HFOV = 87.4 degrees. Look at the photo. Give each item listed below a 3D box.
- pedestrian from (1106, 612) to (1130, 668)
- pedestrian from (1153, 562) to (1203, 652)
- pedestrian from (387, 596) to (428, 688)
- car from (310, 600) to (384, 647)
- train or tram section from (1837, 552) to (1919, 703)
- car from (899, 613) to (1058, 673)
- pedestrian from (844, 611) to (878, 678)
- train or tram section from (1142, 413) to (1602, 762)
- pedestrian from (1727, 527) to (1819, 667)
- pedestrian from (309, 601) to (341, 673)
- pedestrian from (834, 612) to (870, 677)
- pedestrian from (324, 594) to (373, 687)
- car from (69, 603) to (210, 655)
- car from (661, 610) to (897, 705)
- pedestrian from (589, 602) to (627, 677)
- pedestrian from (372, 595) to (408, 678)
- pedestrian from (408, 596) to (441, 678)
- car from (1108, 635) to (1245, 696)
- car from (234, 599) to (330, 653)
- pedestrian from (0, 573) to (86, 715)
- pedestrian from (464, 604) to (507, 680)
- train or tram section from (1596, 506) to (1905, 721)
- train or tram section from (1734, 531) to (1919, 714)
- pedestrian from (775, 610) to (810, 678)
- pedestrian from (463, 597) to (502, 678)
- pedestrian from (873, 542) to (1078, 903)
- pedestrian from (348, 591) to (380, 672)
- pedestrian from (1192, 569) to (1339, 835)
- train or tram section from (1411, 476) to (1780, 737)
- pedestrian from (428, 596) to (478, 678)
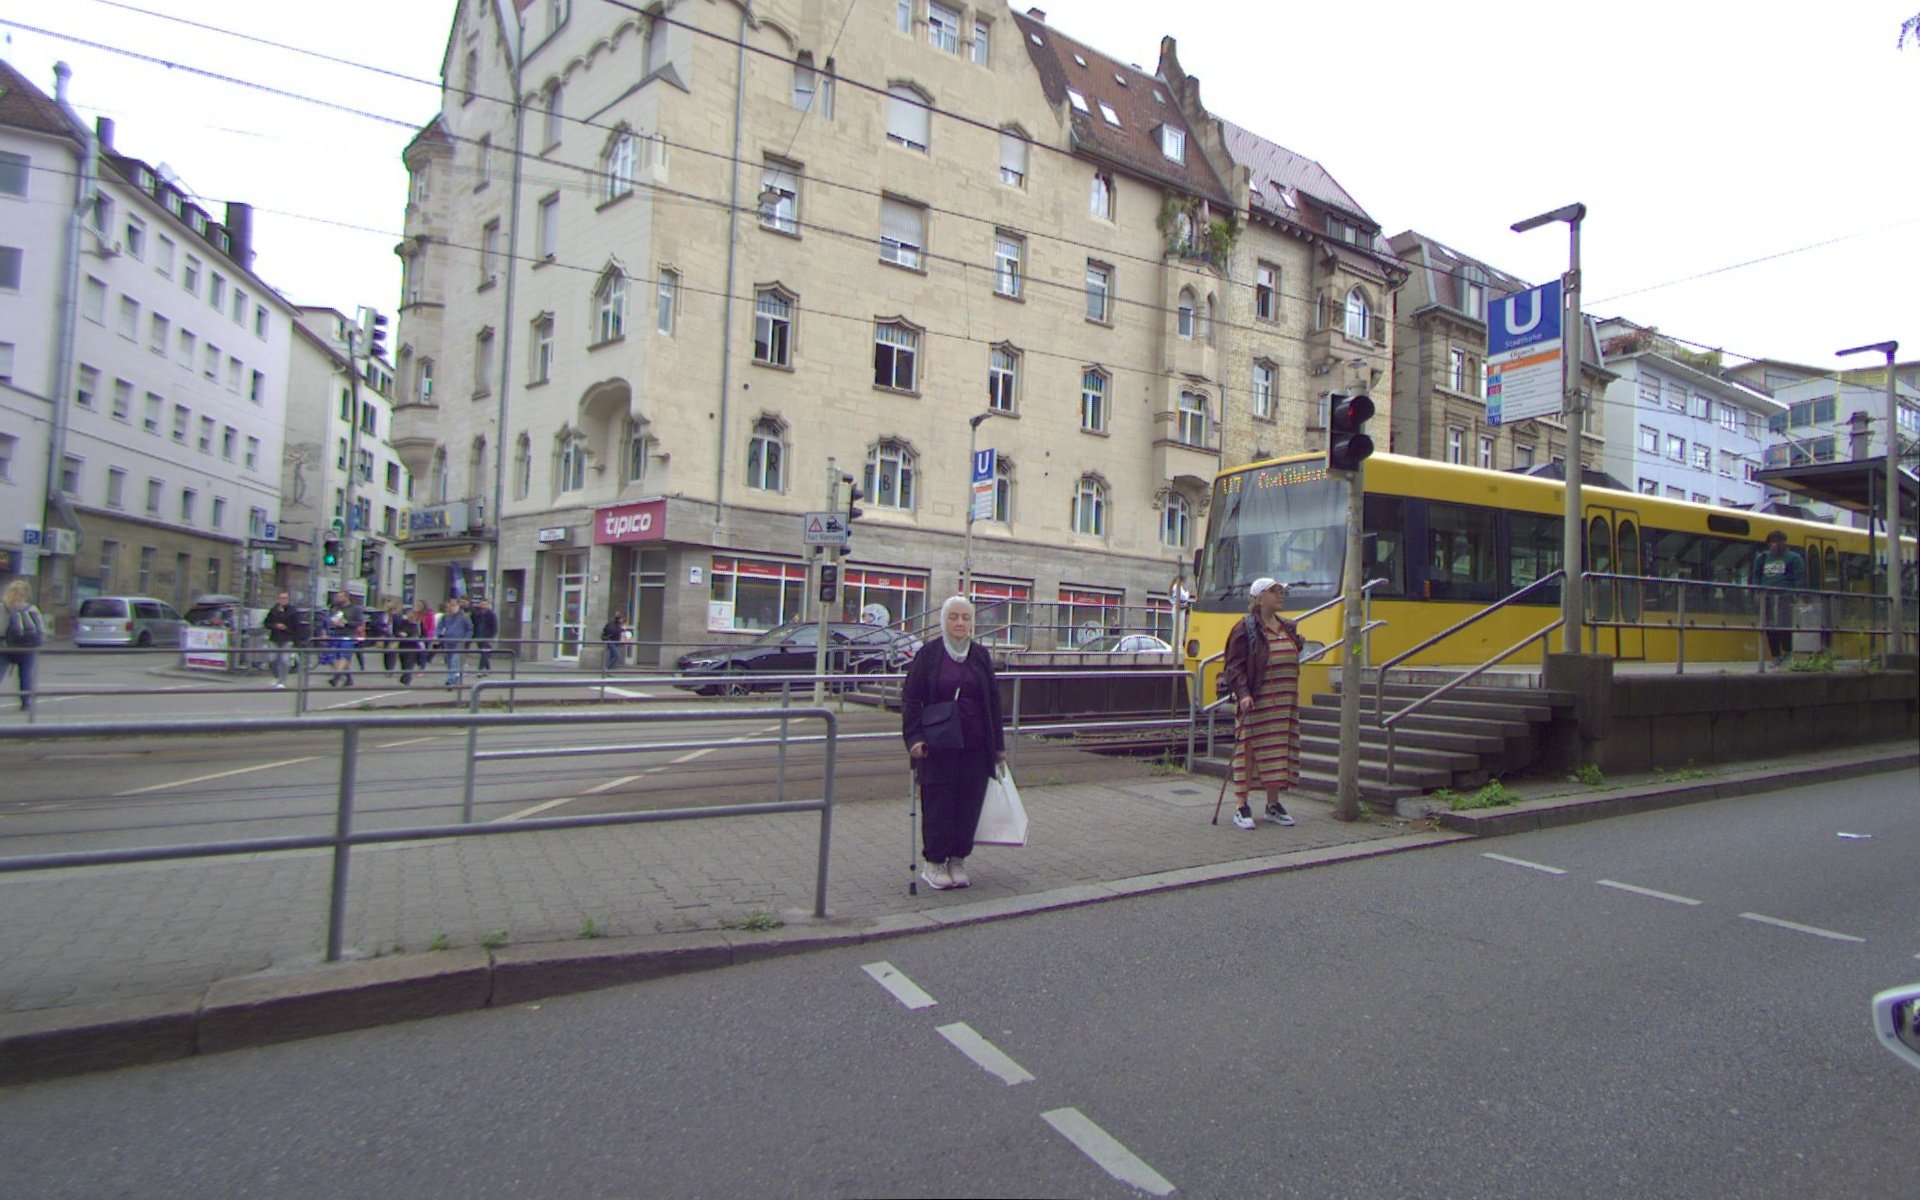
[{"bbox_3d":[5.151,1.306,32.732,0.616,1.785,0.847,1,-2,16],"label":"pedestrian"},{"bbox_3d":[4.321,0.153,19.897,0.654,1.734,0.684,2,-1,-32],"label":"pedestrian"},{"bbox_3d":[-11.104,0.847,20.198,0.567,1.803,0.510,2,-2,-17],"label":"pedestrian"},{"bbox_3d":[-25.227,1.015,41.474,1.610,1.768,3.771,2,-4,-16],"label":"car"},{"bbox_3d":[25.034,0.737,25.284,5.686,3.567,2.820,2,-1,-31],"label":"train or tram section"},{"bbox_3d":[0.483,1.129,25.455,3.735,1.393,1.626,3,-4,-27],"label":"car"},{"bbox_3d":[-2.617,1.183,26.546,0.700,1.728,0.601,3,-2,-26],"label":"pedestrian"},{"bbox_3d":[5.571,-0.043,13.427,5.686,3.727,2.820,2,-1,-31],"label":"train or tram section"},{"bbox_3d":[10.607,-0.029,13.111,0.663,1.753,0.714,3,-1,-30],"label":"pedestrian"},{"bbox_3d":[-14.258,0.829,22.566,0.505,1.603,0.573,3,-2,-28],"label":"pedestrian"},{"bbox_3d":[-2.949,1.197,27.388,0.714,1.728,0.780,3,-2,-25],"label":"pedestrian"},{"bbox_3d":[-12.121,0.799,19.935,0.586,1.803,0.709,2,-2,-15],"label":"pedestrian"},{"bbox_3d":[-27.581,0.950,33.963,1.724,1.581,4.504,3,-1,-12],"label":"car"},{"bbox_3d":[-3.409,1.092,19.037,3.953,1.594,1.899,3,-1,-30],"label":"car"},{"bbox_3d":[-8.670,0.976,24.746,0.808,1.803,0.574,2,-2,-21],"label":"pedestrian"},{"bbox_3d":[-12.671,0.805,22.340,0.569,1.803,0.508,3,-2,-25],"label":"pedestrian"},{"bbox_3d":[-11.984,0.823,22.466,0.570,1.803,0.507,3,-2,-29],"label":"pedestrian"},{"bbox_3d":[6.040,1.833,27.930,3.558,1.543,1.552,3,-1,-30],"label":"car"},{"bbox_3d":[-23.228,0.944,34.566,1.610,1.705,3.771,2,-4,-16],"label":"car"},{"bbox_3d":[-11.951,0.545,12.788,0.796,1.728,0.877,2,-2,-2],"label":"pedestrian"},{"bbox_3d":[-10.765,0.952,22.808,0.679,1.699,0.674,2,-2,-13],"label":"pedestrian"},{"bbox_3d":[15.286,0.324,19.365,5.686,3.567,2.820,2,-1,-31],"label":"train or tram section"},{"bbox_3d":[20.175,0.536,22.321,5.686,3.567,2.820,2,-1,-31],"label":"train or tram section"},{"bbox_3d":[-4.343,1.135,26.060,0.644,1.728,0.780,3,-2,-25],"label":"pedestrian"},{"bbox_3d":[-10.843,0.841,22.806,0.565,1.803,0.511,2,-2,0],"label":"pedestrian"},{"bbox_3d":[0.078,0.606,5.335,0.862,1.734,0.632,2,-1,-32],"label":"pedestrian"},{"bbox_3d":[-13.584,0.724,22.886,0.505,1.803,0.573,3,-2,-26],"label":"pedestrian"},{"bbox_3d":[2.131,0.677,7.029,0.704,1.734,0.682,2,-1,-31],"label":"pedestrian"},{"bbox_3d":[10.431,0.184,16.401,5.686,3.567,2.820,2,-1,-31],"label":"train or tram section"},{"bbox_3d":[-11.475,0.831,22.773,0.654,1.803,0.791,2,-2,0],"label":"pedestrian"}]
